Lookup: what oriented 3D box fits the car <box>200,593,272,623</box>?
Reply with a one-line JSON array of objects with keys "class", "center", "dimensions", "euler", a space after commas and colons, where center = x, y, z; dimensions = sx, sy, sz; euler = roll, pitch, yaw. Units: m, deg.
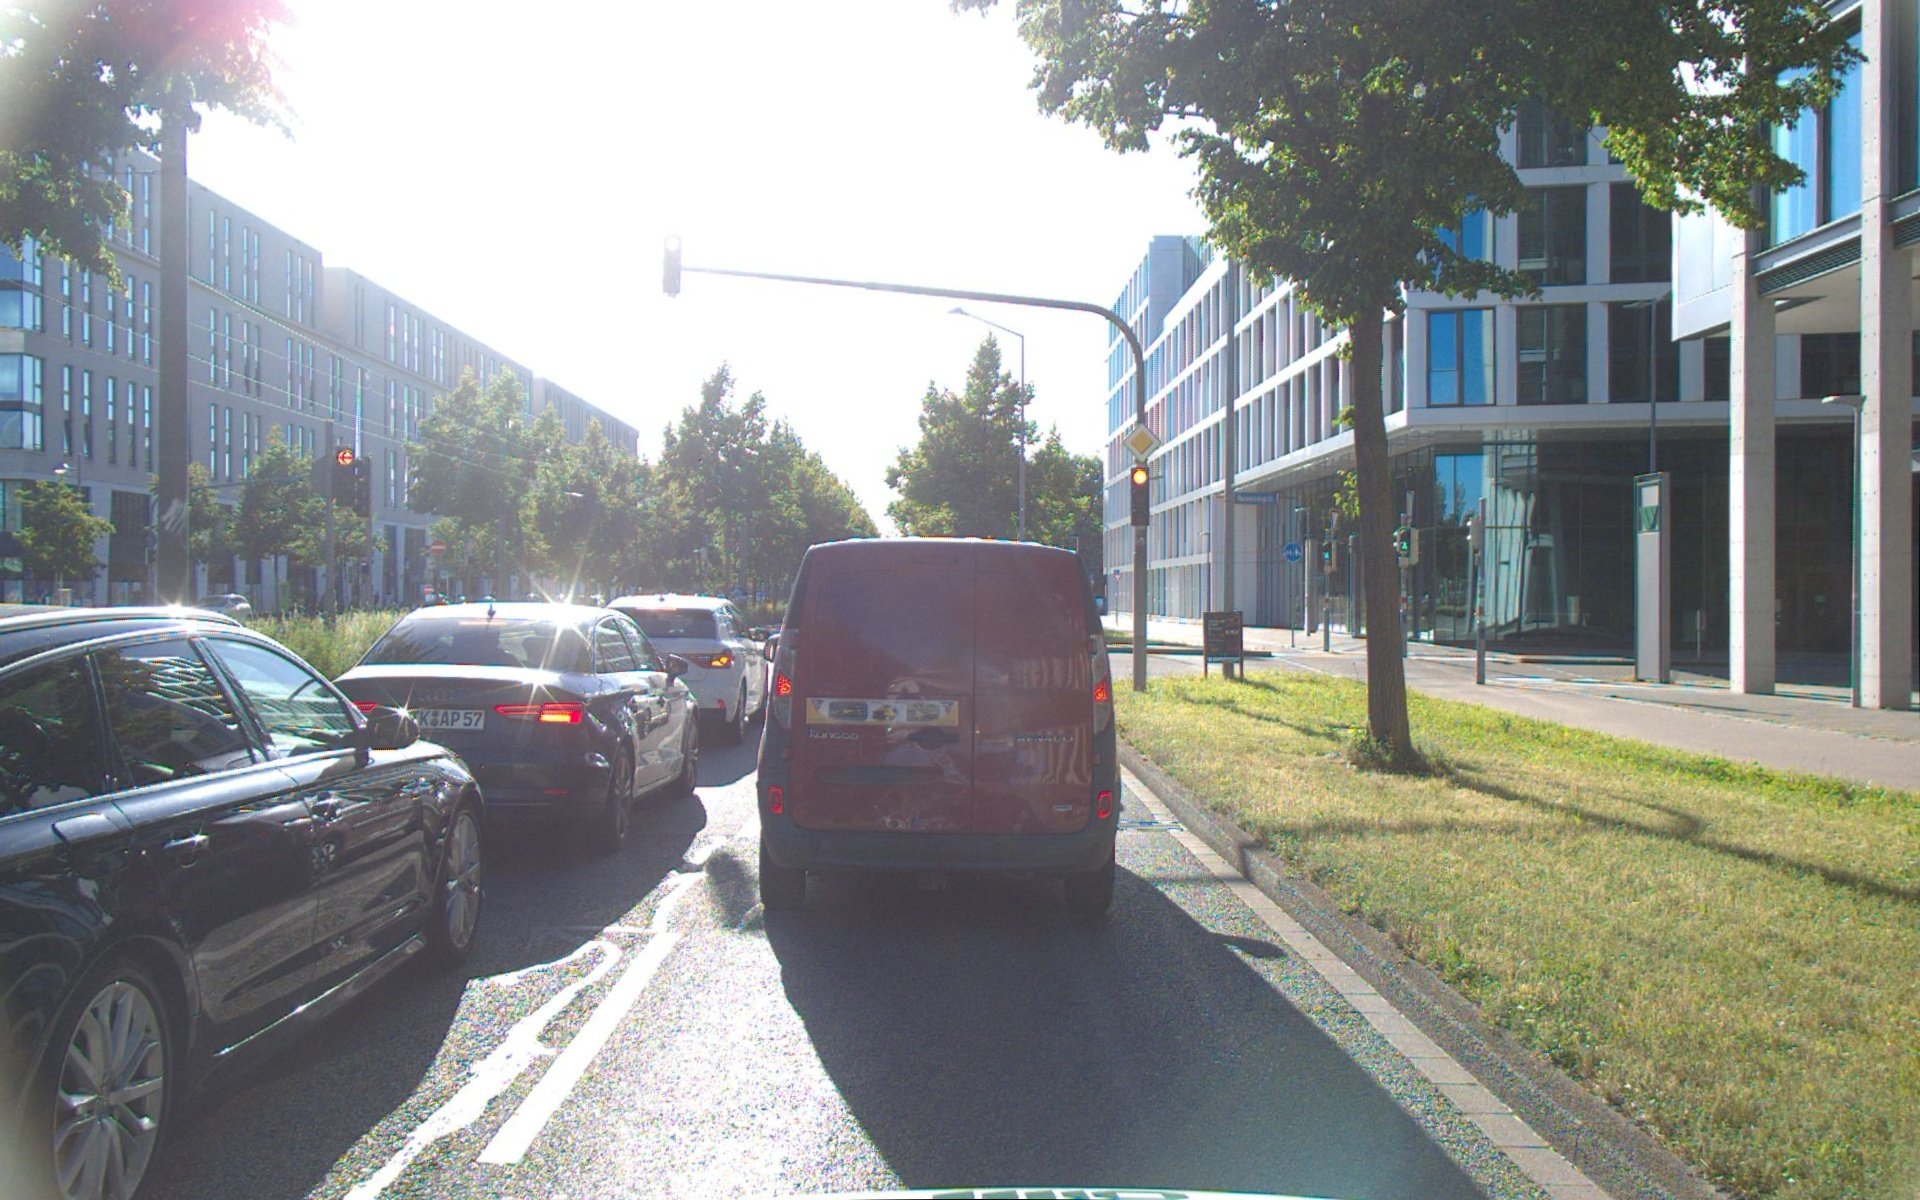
[{"class": "car", "center": [-34.488, 0.379, 78.912], "dimensions": [1.548, 1.366, 4.470], "euler": [0, 0, -1]}]

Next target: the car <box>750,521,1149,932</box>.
[{"class": "car", "center": [-0.046, 0.555, 9.417], "dimensions": [1.771, 1.825, 4.113], "euler": [0, 0, 0]}]

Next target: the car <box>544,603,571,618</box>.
[{"class": "car", "center": [-36.165, 0.927, 148.659], "dimensions": [1.548, 1.366, 3.711], "euler": [0, 0, -1]}]

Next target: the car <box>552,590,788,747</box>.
[{"class": "car", "center": [-2.910, 0.630, 17.456], "dimensions": [1.771, 1.460, 4.113], "euler": [0, 0, 0]}]

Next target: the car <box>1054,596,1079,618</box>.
[{"class": "car", "center": [8.203, 0.529, 127.989], "dimensions": [1.722, 1.640, 3.903], "euler": [0, 0, 0]}]

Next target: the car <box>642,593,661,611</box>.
[{"class": "car", "center": [-36.950, 0.213, 198.036], "dimensions": [1.694, 2.049, 3.998], "euler": [0, 0, -3]}]

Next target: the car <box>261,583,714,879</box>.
[{"class": "car", "center": [-2.787, 0.679, 10.750], "dimensions": [1.771, 1.554, 4.113], "euler": [0, 0, 0]}]

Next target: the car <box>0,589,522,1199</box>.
[{"class": "car", "center": [-2.737, 0.708, 4.849], "dimensions": [1.771, 1.482, 4.507], "euler": [0, 0, -1]}]

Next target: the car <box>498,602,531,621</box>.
[{"class": "car", "center": [-36.206, 0.930, 134.571], "dimensions": [1.740, 1.555, 3.805], "euler": [0, 0, -1]}]
